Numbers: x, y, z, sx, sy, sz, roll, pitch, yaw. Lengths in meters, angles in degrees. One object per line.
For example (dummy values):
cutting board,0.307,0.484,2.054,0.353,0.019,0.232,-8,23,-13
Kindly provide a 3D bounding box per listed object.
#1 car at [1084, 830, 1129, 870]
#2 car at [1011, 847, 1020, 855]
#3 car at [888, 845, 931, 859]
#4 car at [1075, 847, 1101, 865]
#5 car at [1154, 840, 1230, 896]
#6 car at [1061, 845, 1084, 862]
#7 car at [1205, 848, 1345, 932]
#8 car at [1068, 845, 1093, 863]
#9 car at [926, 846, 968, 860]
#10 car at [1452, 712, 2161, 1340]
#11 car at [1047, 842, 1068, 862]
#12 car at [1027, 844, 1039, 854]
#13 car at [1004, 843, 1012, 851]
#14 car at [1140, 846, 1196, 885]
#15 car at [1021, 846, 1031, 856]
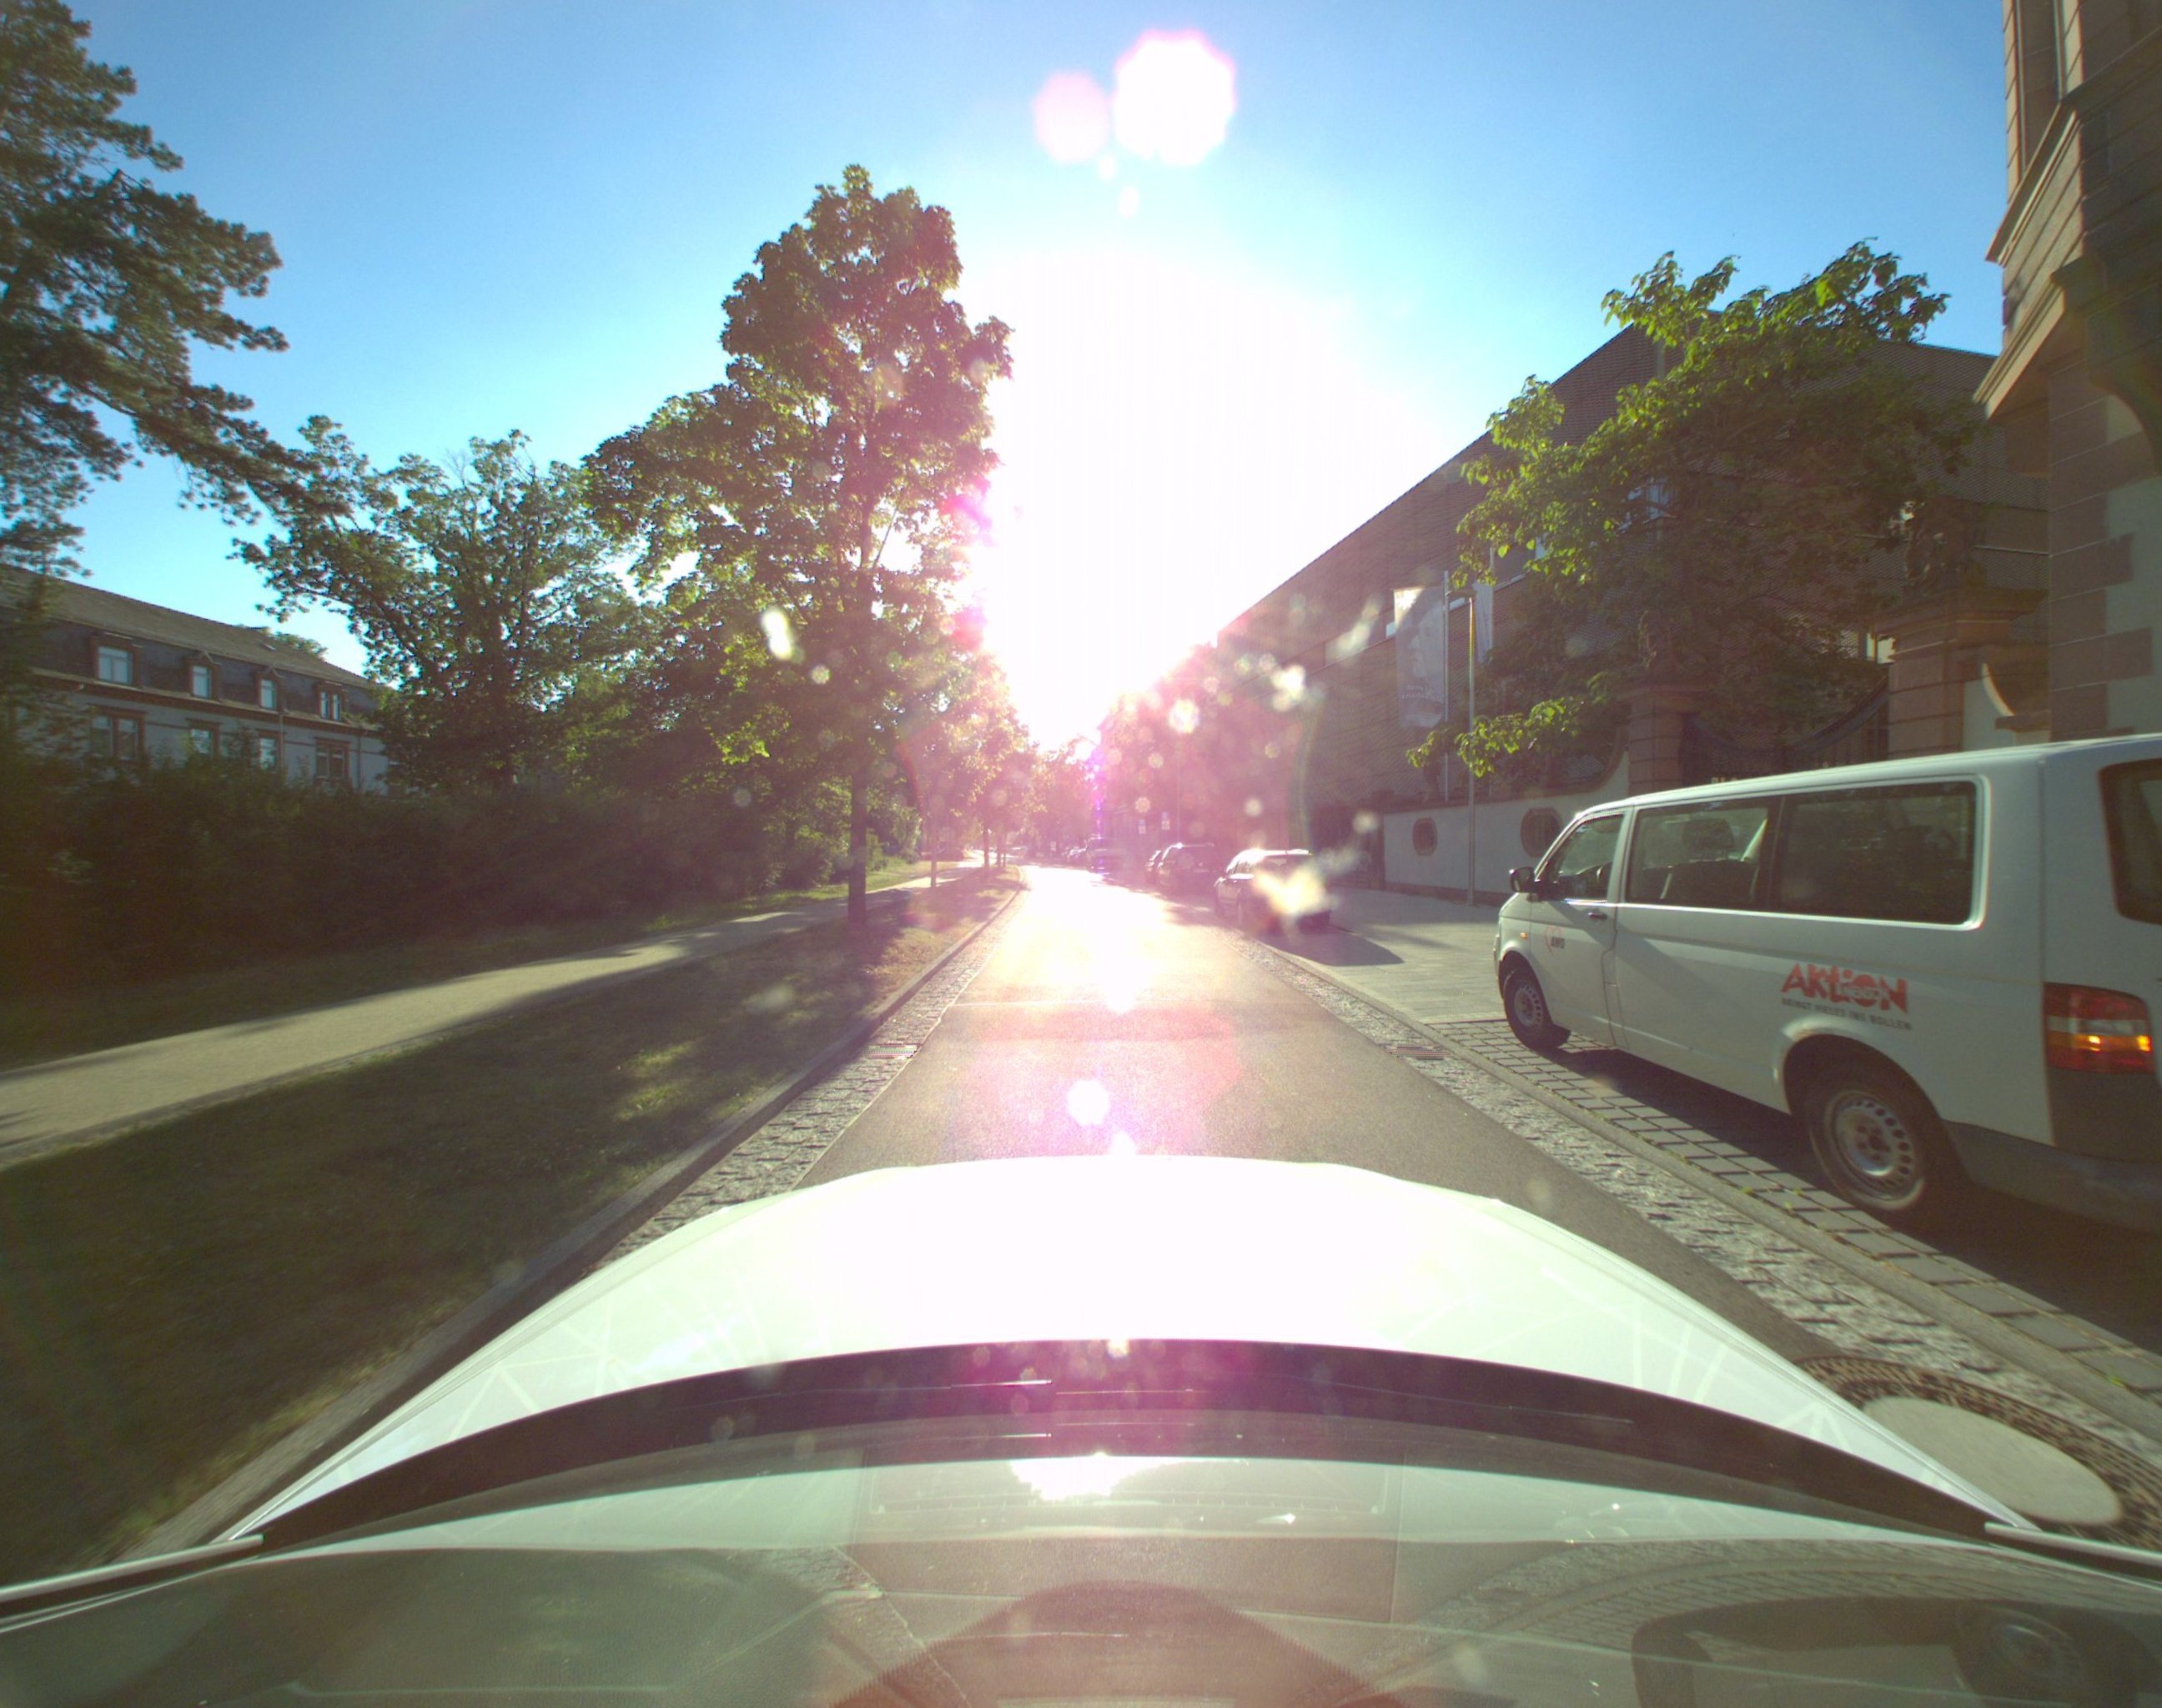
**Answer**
car,1.696,-0.308,56.399,2.208,2.529,6.136,-3,1,-6
car,-12.849,-0.685,160.047,1.791,1.510,3.992,0,1,-6
car,-17.689,-0.191,84.019,3.937,1.420,1.755,-1,1,-30
car,0.537,0.132,67.460,1.689,1.440,3.542,-2,1,-7
car,3.639,0.398,27.440,1.721,1.669,4.109,-2,1,-3
car,-0.825,-0.062,78.425,1.689,1.565,4.094,-2,1,-7
car,3.868,0.643,17.048,1.743,1.466,4.475,-1,0,-1
car,-0.051,-0.027,72.947,1.689,1.440,4.094,-2,1,-7
car,-14.246,-0.143,86.505,4.015,1.420,1.753,-1,1,-34
car,4.310,0.450,4.955,1.985,1.966,4.853,-4,1,3
car,-2.494,-0.234,85.847,1.821,2.013,3.595,0,0,-8
car,-7.721,-0.797,130.942,1.790,1.510,3.996,0,1,-3
car,-17.581,-1.718,196.605,1.791,1.999,3.992,0,1,-6
car,3.502,0.437,33.395,1.720,1.421,3.903,-2,1,-2
car,-9.778,-0.581,144.739,1.791,1.724,3.992,0,1,-6
